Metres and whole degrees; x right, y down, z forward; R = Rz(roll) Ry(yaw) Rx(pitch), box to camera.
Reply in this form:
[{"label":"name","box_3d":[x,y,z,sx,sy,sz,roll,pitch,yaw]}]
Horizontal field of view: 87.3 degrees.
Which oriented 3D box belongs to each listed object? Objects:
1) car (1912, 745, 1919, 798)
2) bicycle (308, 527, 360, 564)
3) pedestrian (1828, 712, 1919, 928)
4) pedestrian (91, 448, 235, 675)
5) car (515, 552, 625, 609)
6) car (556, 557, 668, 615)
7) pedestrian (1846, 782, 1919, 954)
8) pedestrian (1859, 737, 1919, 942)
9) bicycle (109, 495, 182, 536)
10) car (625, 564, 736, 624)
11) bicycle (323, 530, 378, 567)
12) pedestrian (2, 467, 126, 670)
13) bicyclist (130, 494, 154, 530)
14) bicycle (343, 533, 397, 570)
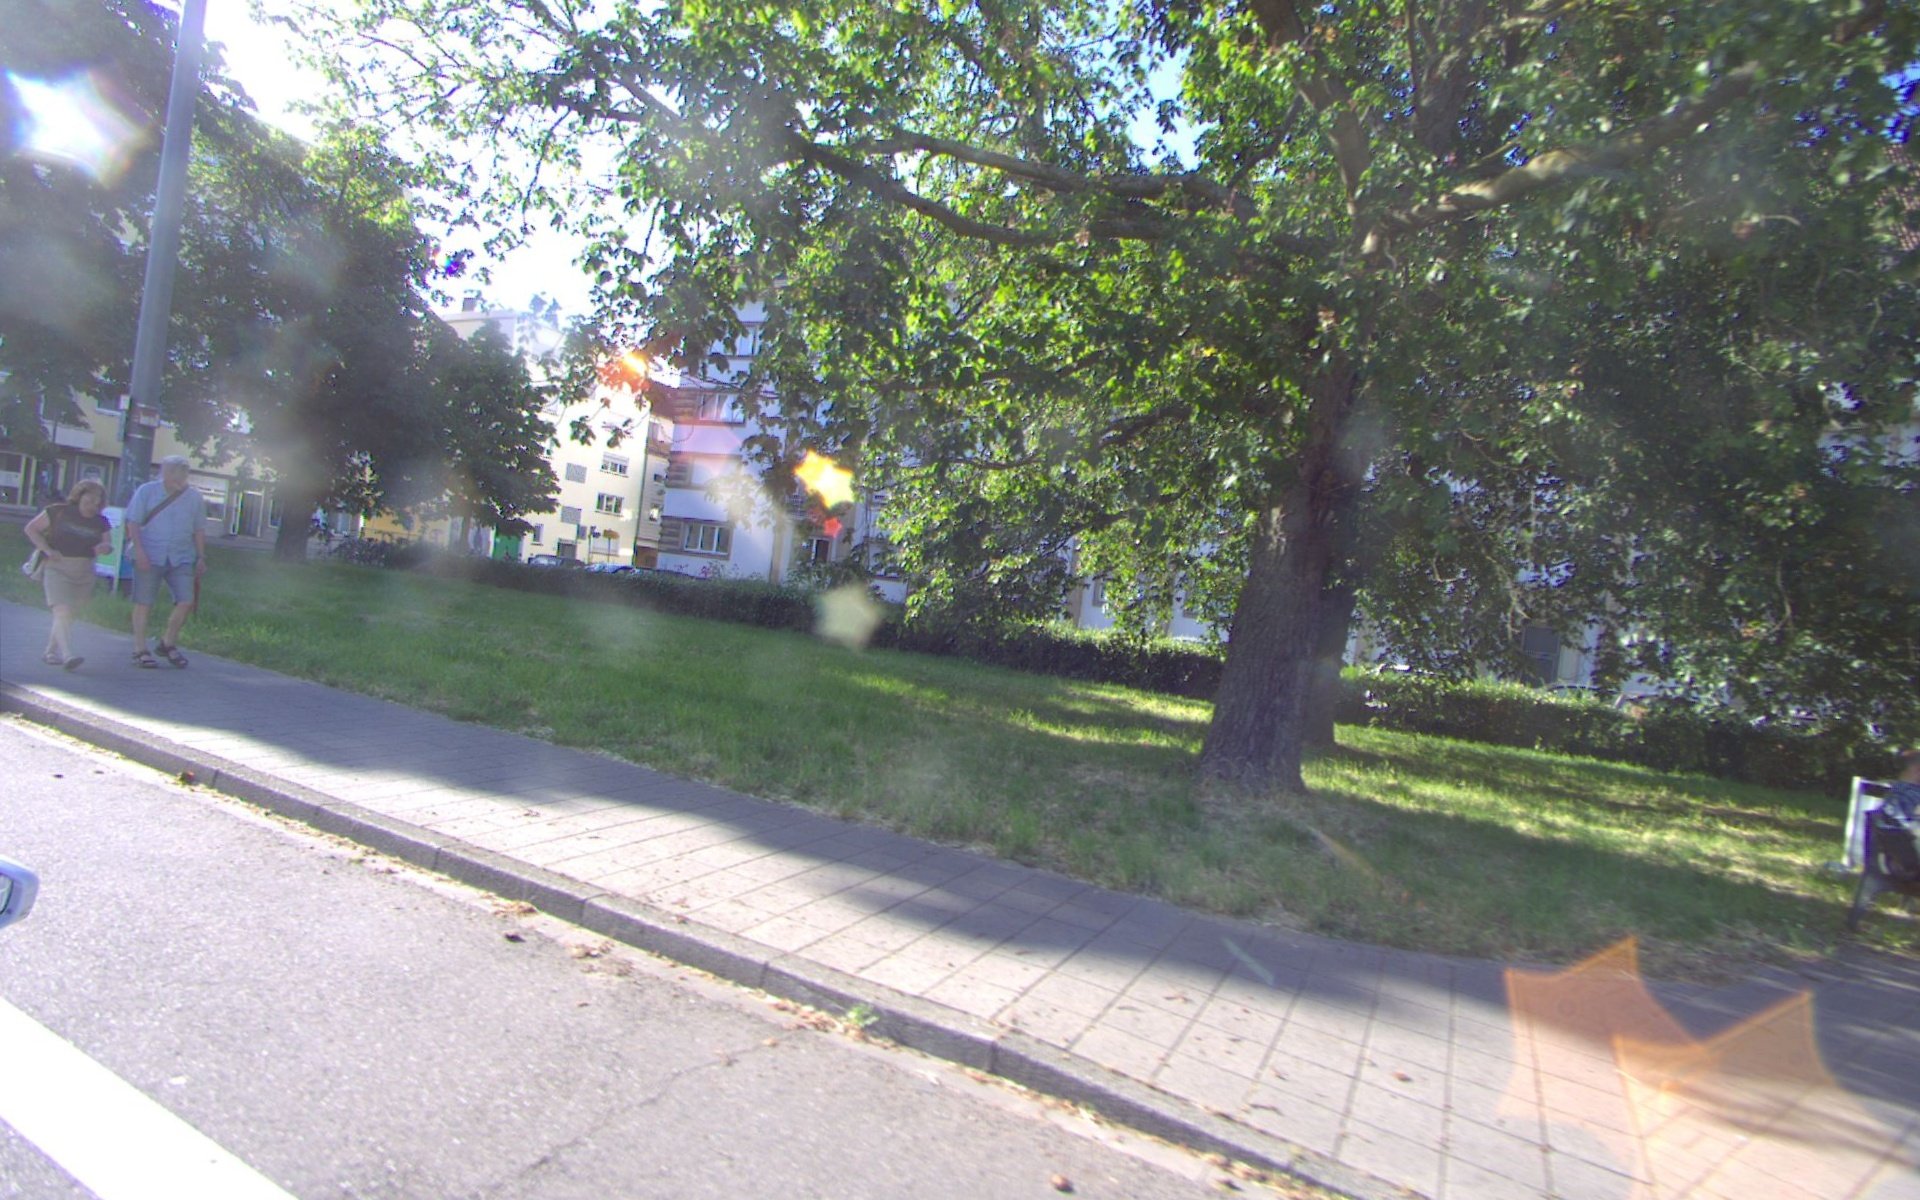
[{"label":"car","box_3d":[18.576,3.181,17.816,1.548,1.389,3.349,7,3,29]},{"label":"bicycle","box_3d":[-21.677,-1.893,34.839,1.764,1.046,0.599,7,-2,28]},{"label":"pedestrian","box_3d":[6.722,1.550,7.018,0.681,1.388,0.748,9,-2,-35]},{"label":"pedestrian","box_3d":[-6.795,-0.317,8.581,0.683,1.814,0.703,9,4,33]},{"label":"car","box_3d":[-13.447,-0.629,34.847,1.548,1.547,3.256,7,0,26]},{"label":"car","box_3d":[-11.546,-0.432,33.571,1.548,1.547,3.256,7,0,26]},{"label":"pedestrian","box_3d":[5.888,1.650,6.079,0.401,0.945,0.617,9,0,-35]},{"label":"pedestrian","box_3d":[6.283,1.555,6.337,0.401,1.240,0.754,9,-2,-35]},{"label":"bicycle","box_3d":[-38.148,-3.950,47.149,0.597,1.415,2.479,8,-3,27]},{"label":"car","box_3d":[-8.962,-0.150,32.445,1.548,1.547,3.256,7,0,26]},{"label":"bicycle","box_3d":[-21.469,-1.811,35.444,1.972,1.046,0.599,7,-2,28]},{"label":"pedestrian","box_3d":[-7.220,-0.249,8.109,0.617,1.548,0.529,7,2,34]},{"label":"bicyclist","box_3d":[-37.828,-4.067,46.527,0.456,1.585,0.529,8,-2,26]},{"label":"bicycle","box_3d":[-21.144,-1.744,36.026,1.956,1.046,0.599,7,-2,28]}]
